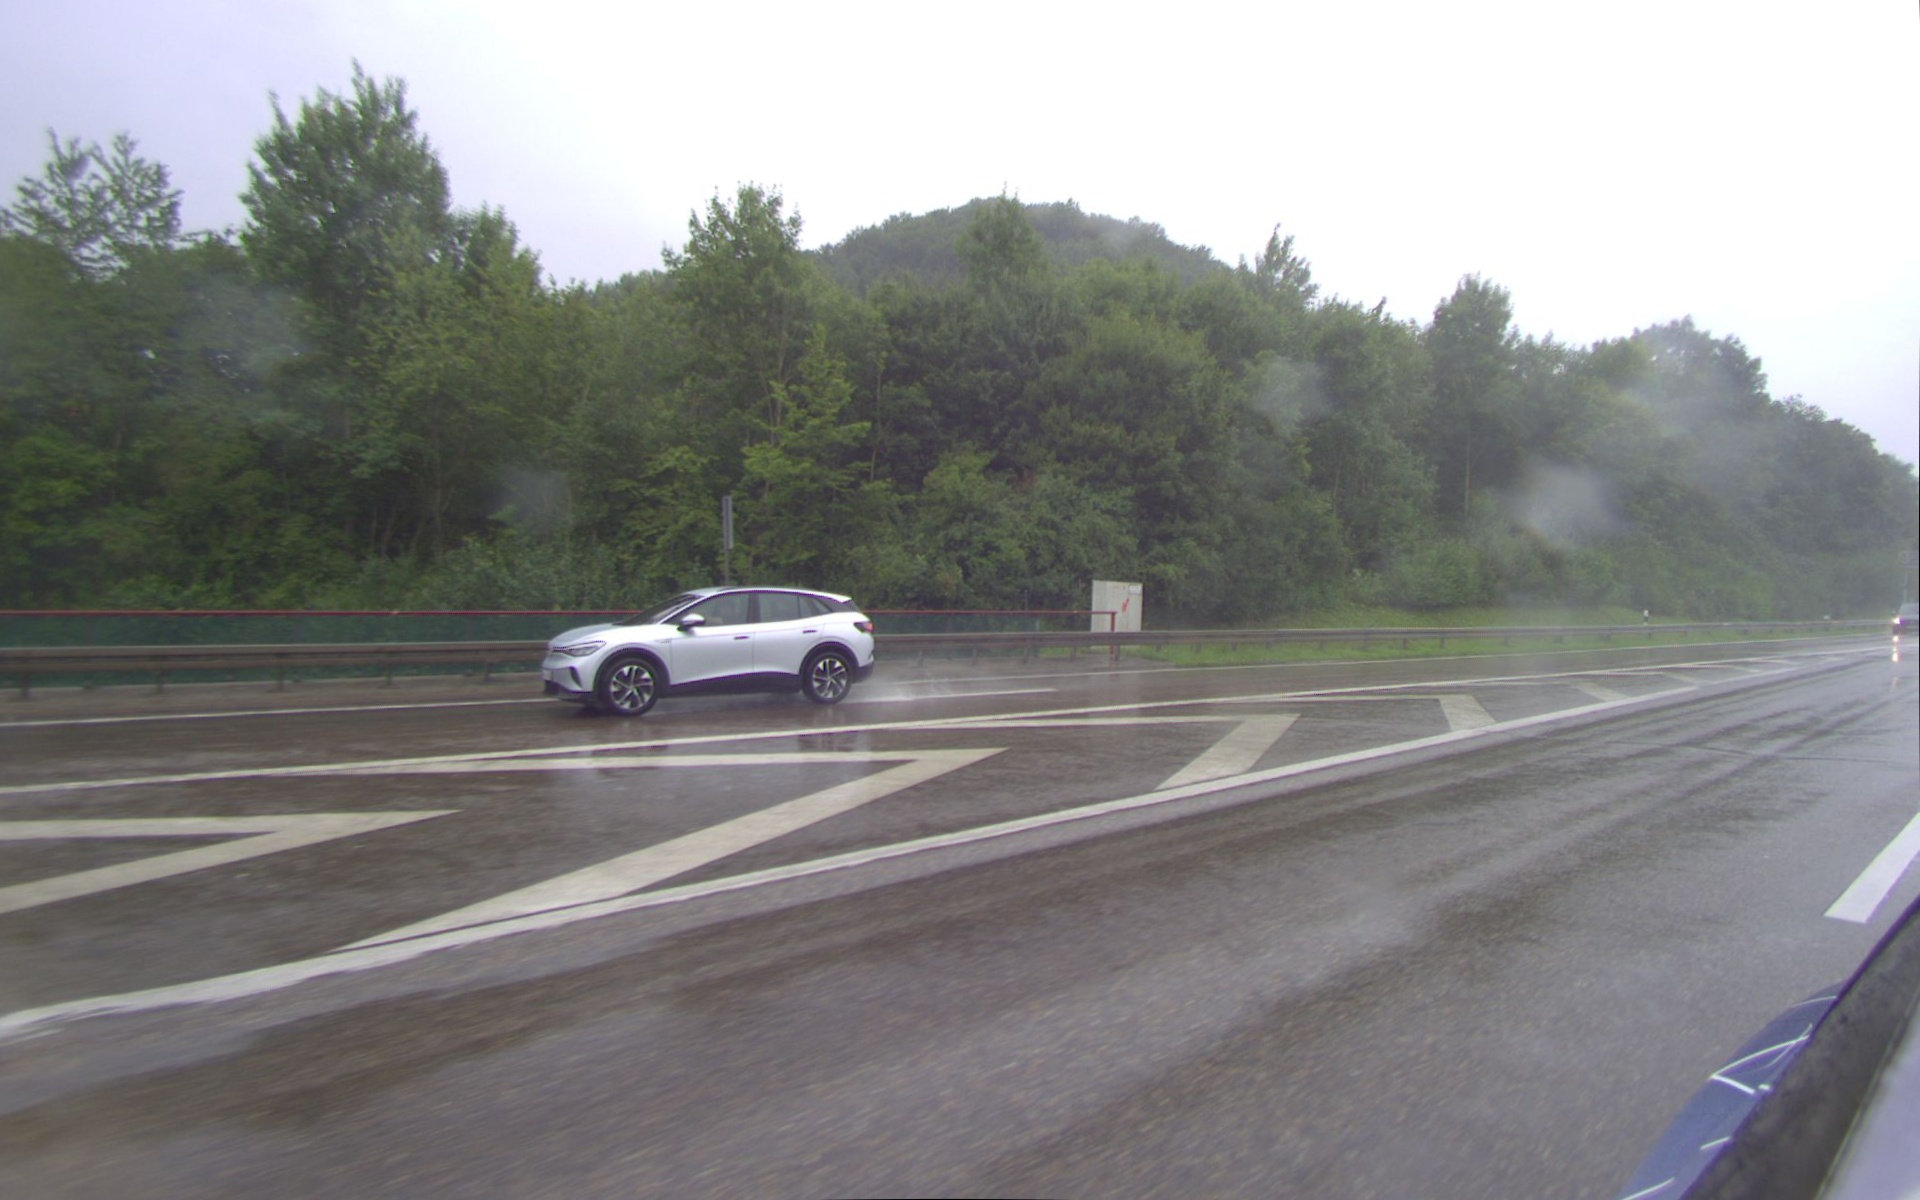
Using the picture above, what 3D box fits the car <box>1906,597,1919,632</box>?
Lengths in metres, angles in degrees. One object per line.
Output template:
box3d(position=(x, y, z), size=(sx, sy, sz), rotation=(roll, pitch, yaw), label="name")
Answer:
box3d(position=(57.737, 0.862, 59.981), size=(3.926, 2.039, 1.859), rotation=(1, 0, -38), label="car")

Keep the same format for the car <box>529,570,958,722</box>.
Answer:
box3d(position=(-2.868, 0.531, 14.190), size=(5.555, 1.773, 1.999), rotation=(0, -1, -36), label="car")
